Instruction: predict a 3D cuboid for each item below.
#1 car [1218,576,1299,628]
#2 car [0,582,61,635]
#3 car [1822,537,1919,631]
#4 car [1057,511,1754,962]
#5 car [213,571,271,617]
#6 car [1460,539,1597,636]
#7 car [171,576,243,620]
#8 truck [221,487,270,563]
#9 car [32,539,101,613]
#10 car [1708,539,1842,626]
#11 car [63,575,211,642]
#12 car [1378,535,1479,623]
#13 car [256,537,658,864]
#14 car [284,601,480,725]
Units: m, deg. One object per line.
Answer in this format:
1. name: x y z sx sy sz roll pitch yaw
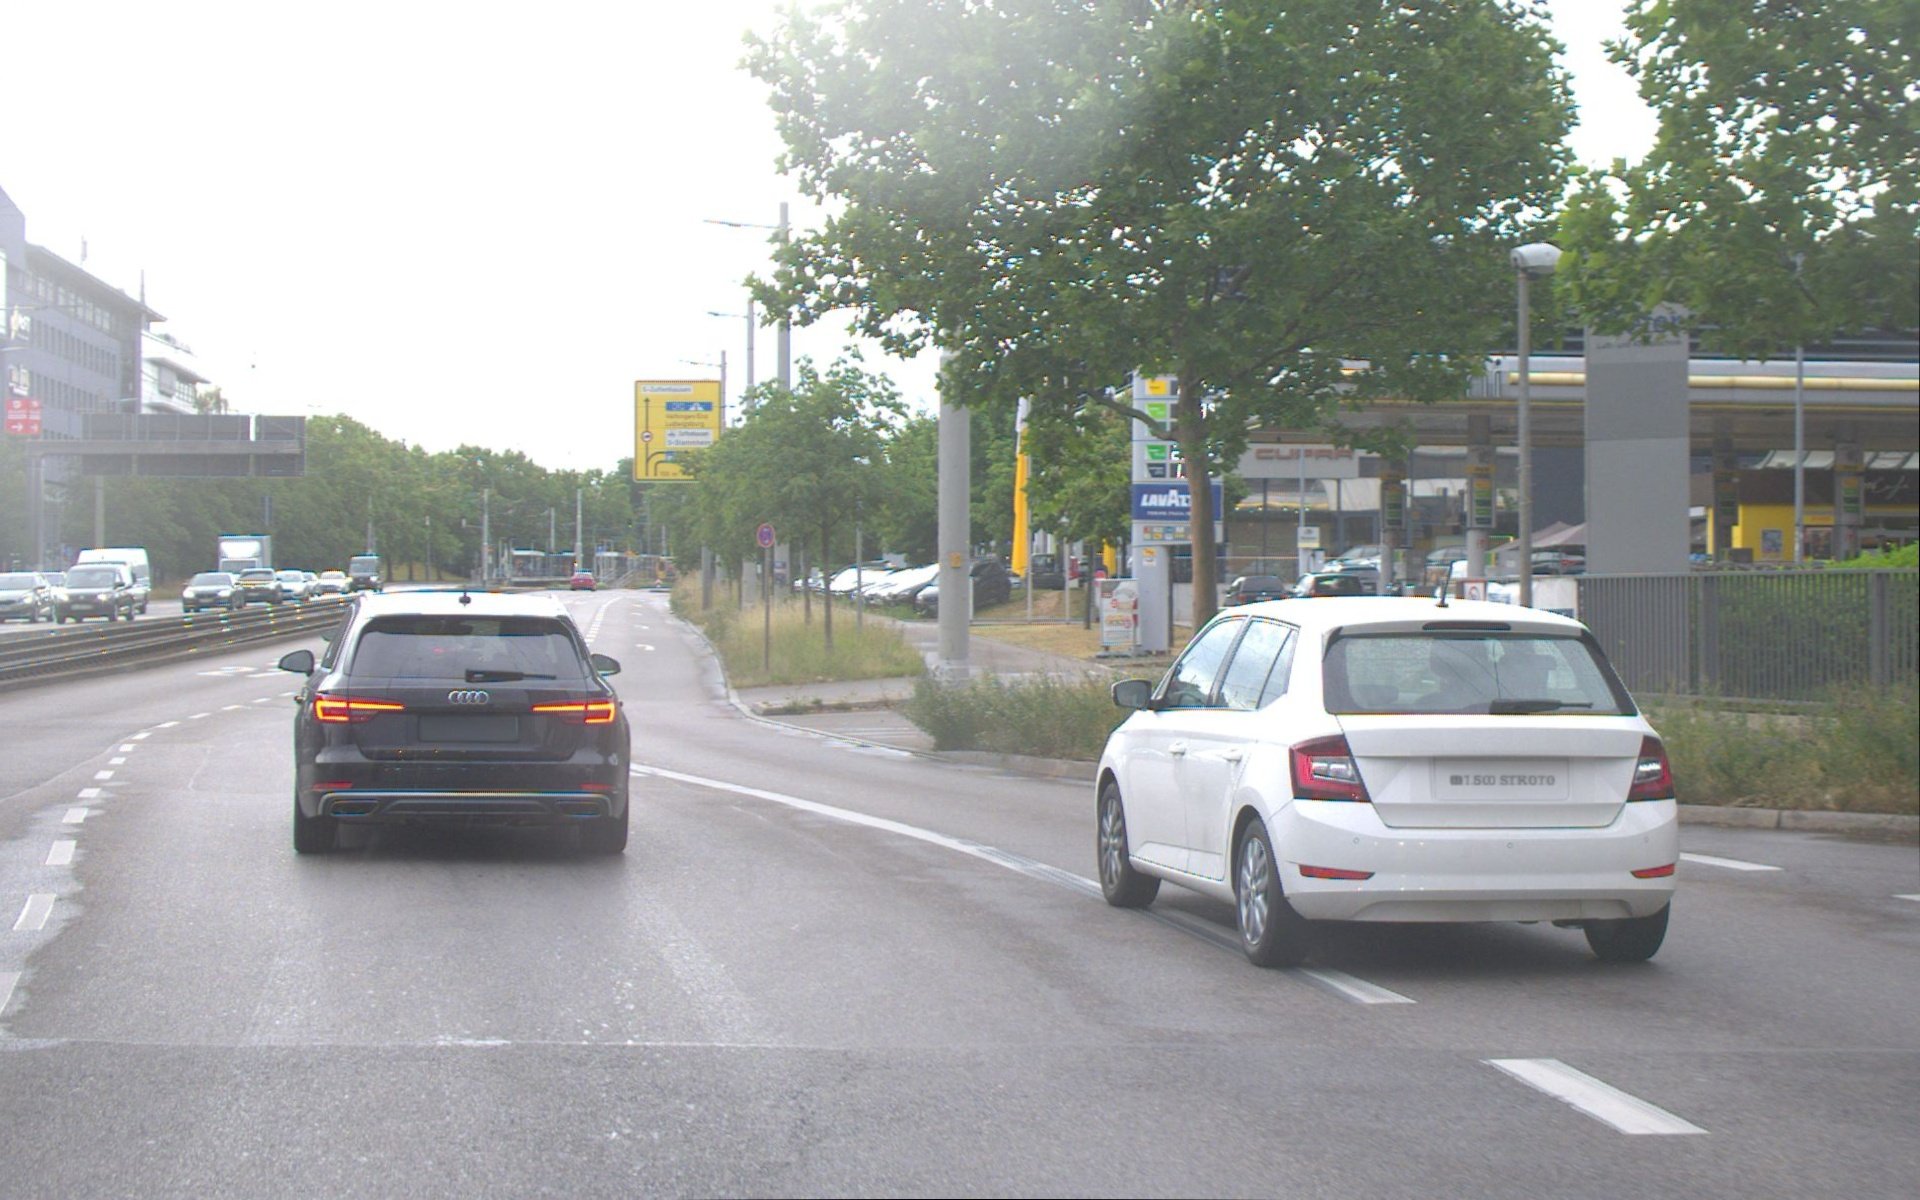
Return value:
1. car: 9.291 0.063 107.214 1.791 1.586 4.001 0 0 -6
2. car: -29.989 0.243 109.150 2.158 1.500 4.302 5 -1 -7
3. car: 20.587 -0.347 76.525 1.675 2.007 3.138 3 0 -5
4. car: 1.735 0.522 14.795 1.828 1.650 4.001 1 0 -10
5. car: -31.067 -0.275 148.812 2.158 1.879 4.302 3 0 -9
6. car: 12.284 -0.278 74.498 1.993 2.025 4.001 0 0 -5
7. car: -28.650 -0.087 130.879 1.800 1.615 4.956 0 0 -2
8. truck: -35.944 -3.743 173.059 2.158 3.633 6.876 3 0 -11
9. car: -34.500 -0.910 132.790 2.158 2.713 5.069 3 0 -11
10. car: 20.190 -0.430 85.287 1.869 2.007 3.775 3 0 -9
11. car: -25.182 0.267 105.323 2.161 1.879 4.296 3 0 24
12. car: 11.372 -0.504 83.667 1.679 2.007 3.542 3 0 -4
13. car: -2.958 0.483 19.511 1.993 1.631 4.001 1 1 -12
14. car: -7.203 0.763 43.183 1.894 1.460 3.909 1 0 -2
